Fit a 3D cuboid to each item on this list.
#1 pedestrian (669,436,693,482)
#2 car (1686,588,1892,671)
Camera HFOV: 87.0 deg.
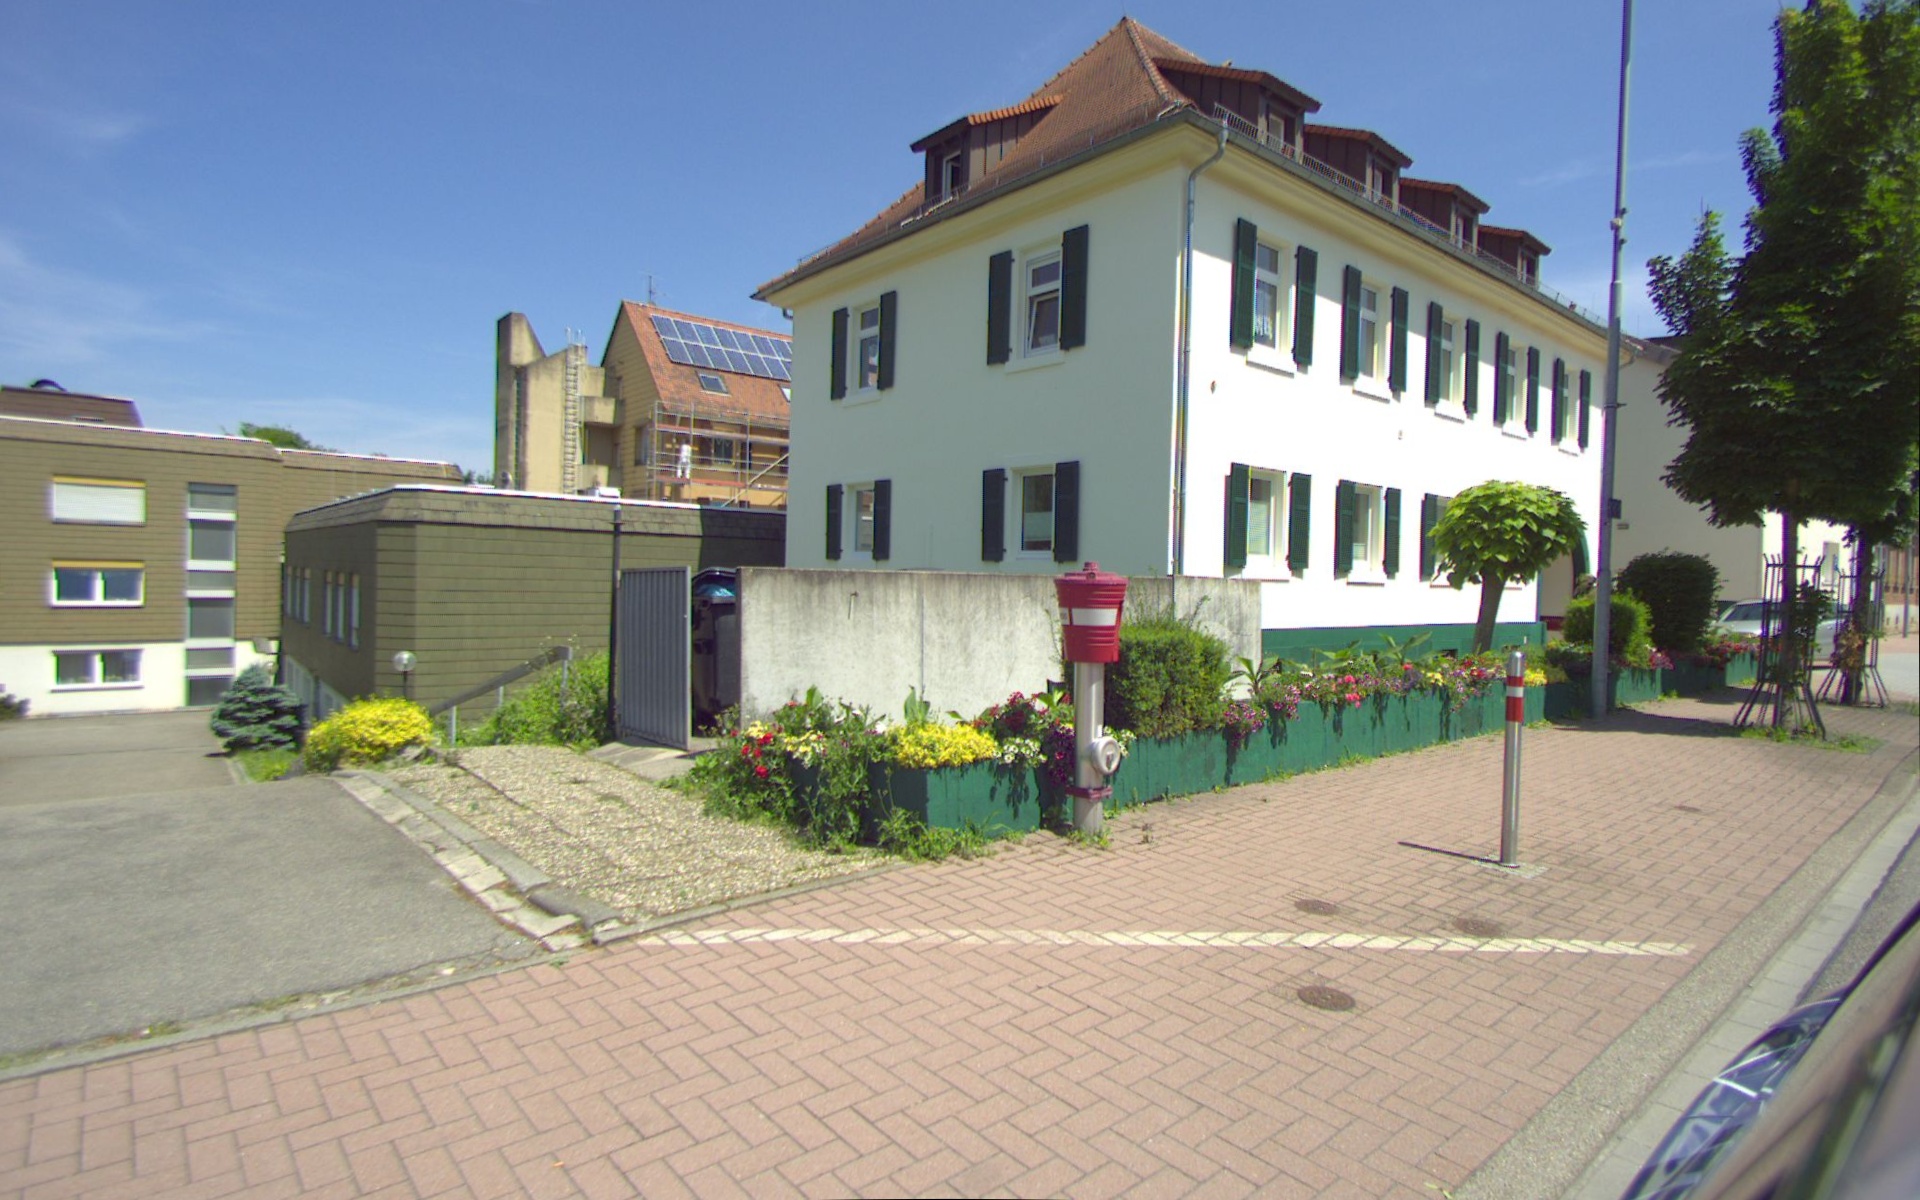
[{"bbox_3d":[-11.323,-5.708,41.036,0.653,1.725,0.829,1,-2,-38],"label":"pedestrian"},{"bbox_3d":[16.960,0.571,20.646,4.790,1.482,1.821,-1,-2,-33],"label":"car"}]
